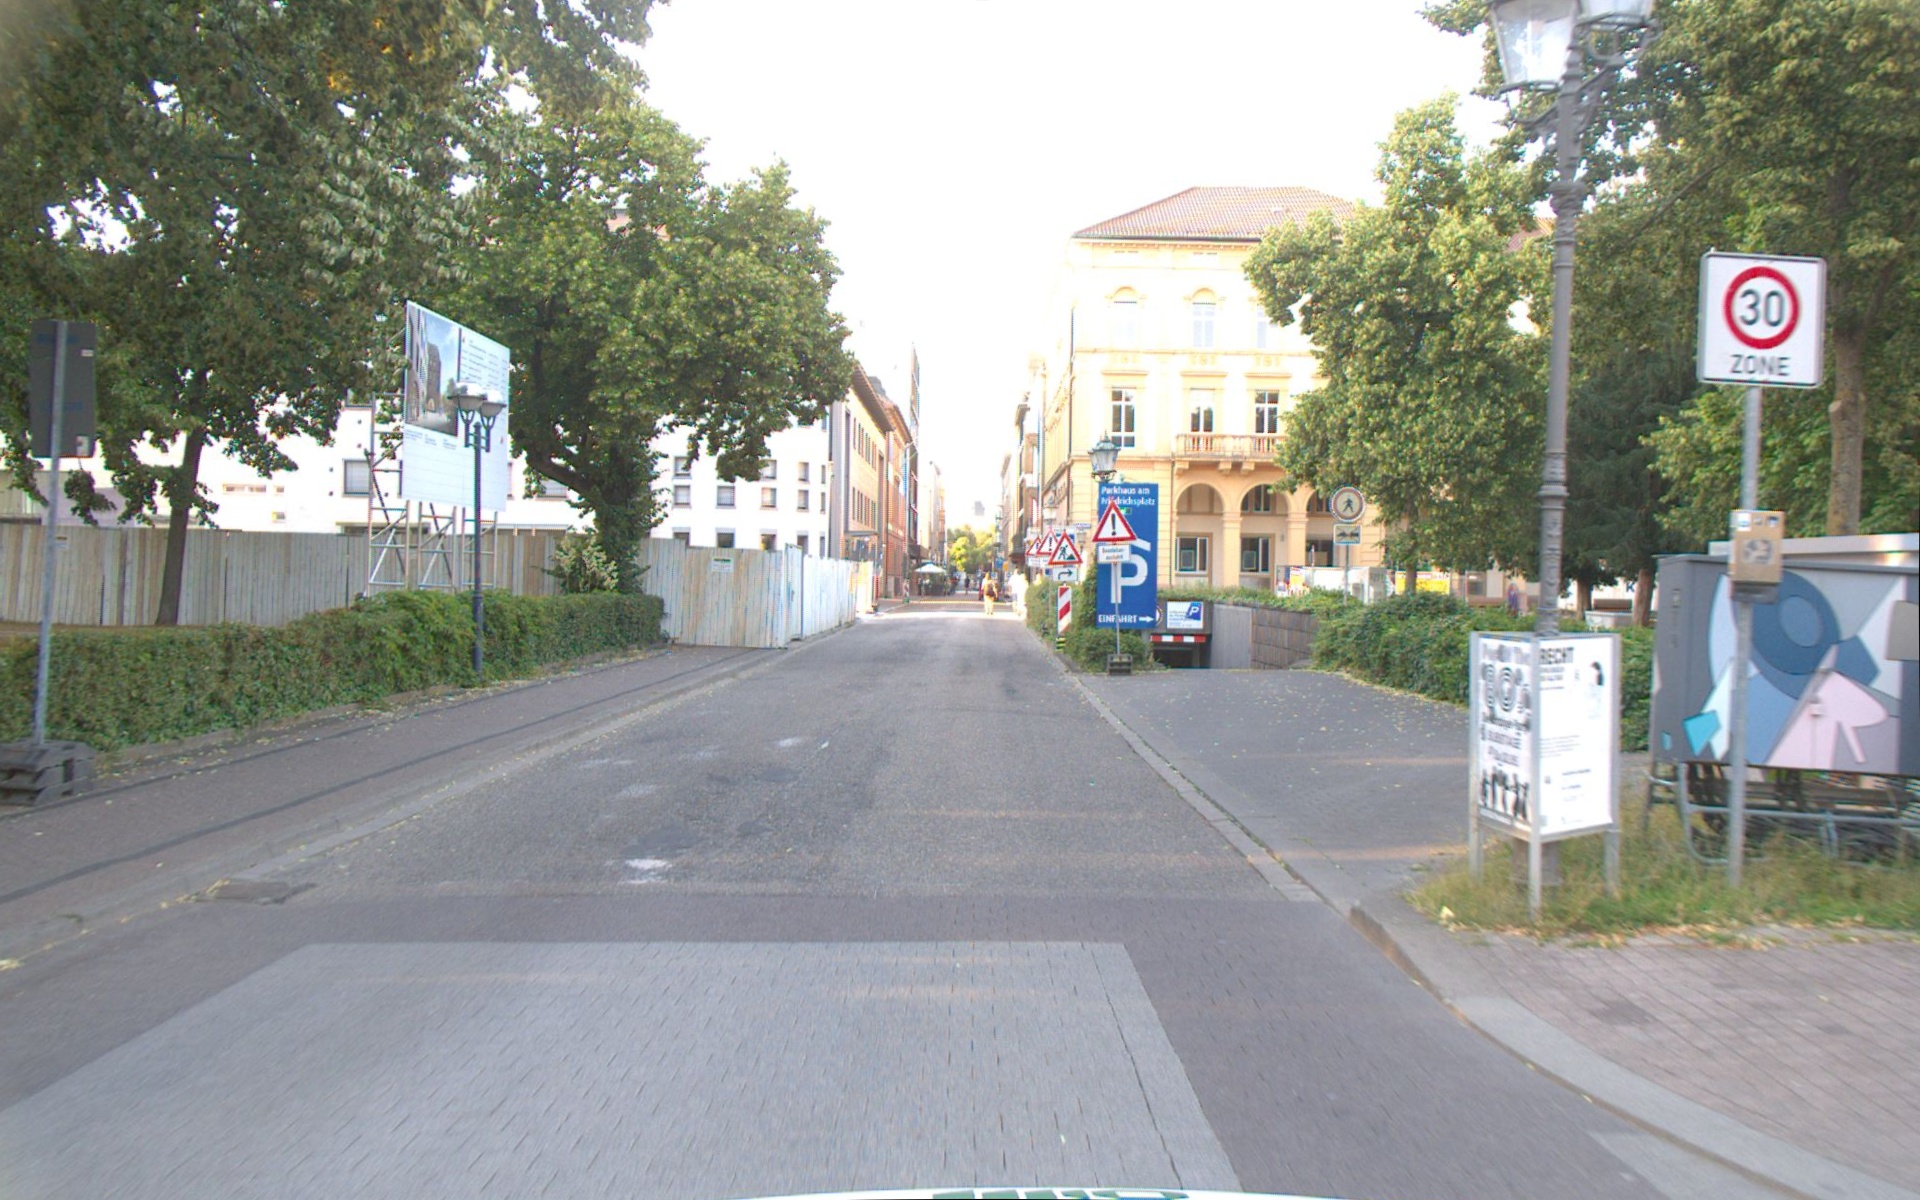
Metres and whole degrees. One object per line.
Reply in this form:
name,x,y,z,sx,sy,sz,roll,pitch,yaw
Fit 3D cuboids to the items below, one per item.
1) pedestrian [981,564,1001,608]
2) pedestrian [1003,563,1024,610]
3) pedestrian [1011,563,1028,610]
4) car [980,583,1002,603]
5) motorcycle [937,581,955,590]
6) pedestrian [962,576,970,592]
pedestrian,1.258,-0.575,67.108,0.760,1.777,0.875,0,1,-1
pedestrian,2.170,-0.563,67.128,0.795,1.908,0.875,0,1,-1
pedestrian,2.374,-0.542,65.763,0.623,1.834,0.772,0,1,-1
car,2.449,-0.566,130.632,1.616,1.452,3.536,3,1,1
motorcycle,-1.442,-1.459,170.487,1.765,0.891,0.560,0,1,-4
pedestrian,0.676,-1.753,182.469,0.788,1.702,0.889,0,1,2
